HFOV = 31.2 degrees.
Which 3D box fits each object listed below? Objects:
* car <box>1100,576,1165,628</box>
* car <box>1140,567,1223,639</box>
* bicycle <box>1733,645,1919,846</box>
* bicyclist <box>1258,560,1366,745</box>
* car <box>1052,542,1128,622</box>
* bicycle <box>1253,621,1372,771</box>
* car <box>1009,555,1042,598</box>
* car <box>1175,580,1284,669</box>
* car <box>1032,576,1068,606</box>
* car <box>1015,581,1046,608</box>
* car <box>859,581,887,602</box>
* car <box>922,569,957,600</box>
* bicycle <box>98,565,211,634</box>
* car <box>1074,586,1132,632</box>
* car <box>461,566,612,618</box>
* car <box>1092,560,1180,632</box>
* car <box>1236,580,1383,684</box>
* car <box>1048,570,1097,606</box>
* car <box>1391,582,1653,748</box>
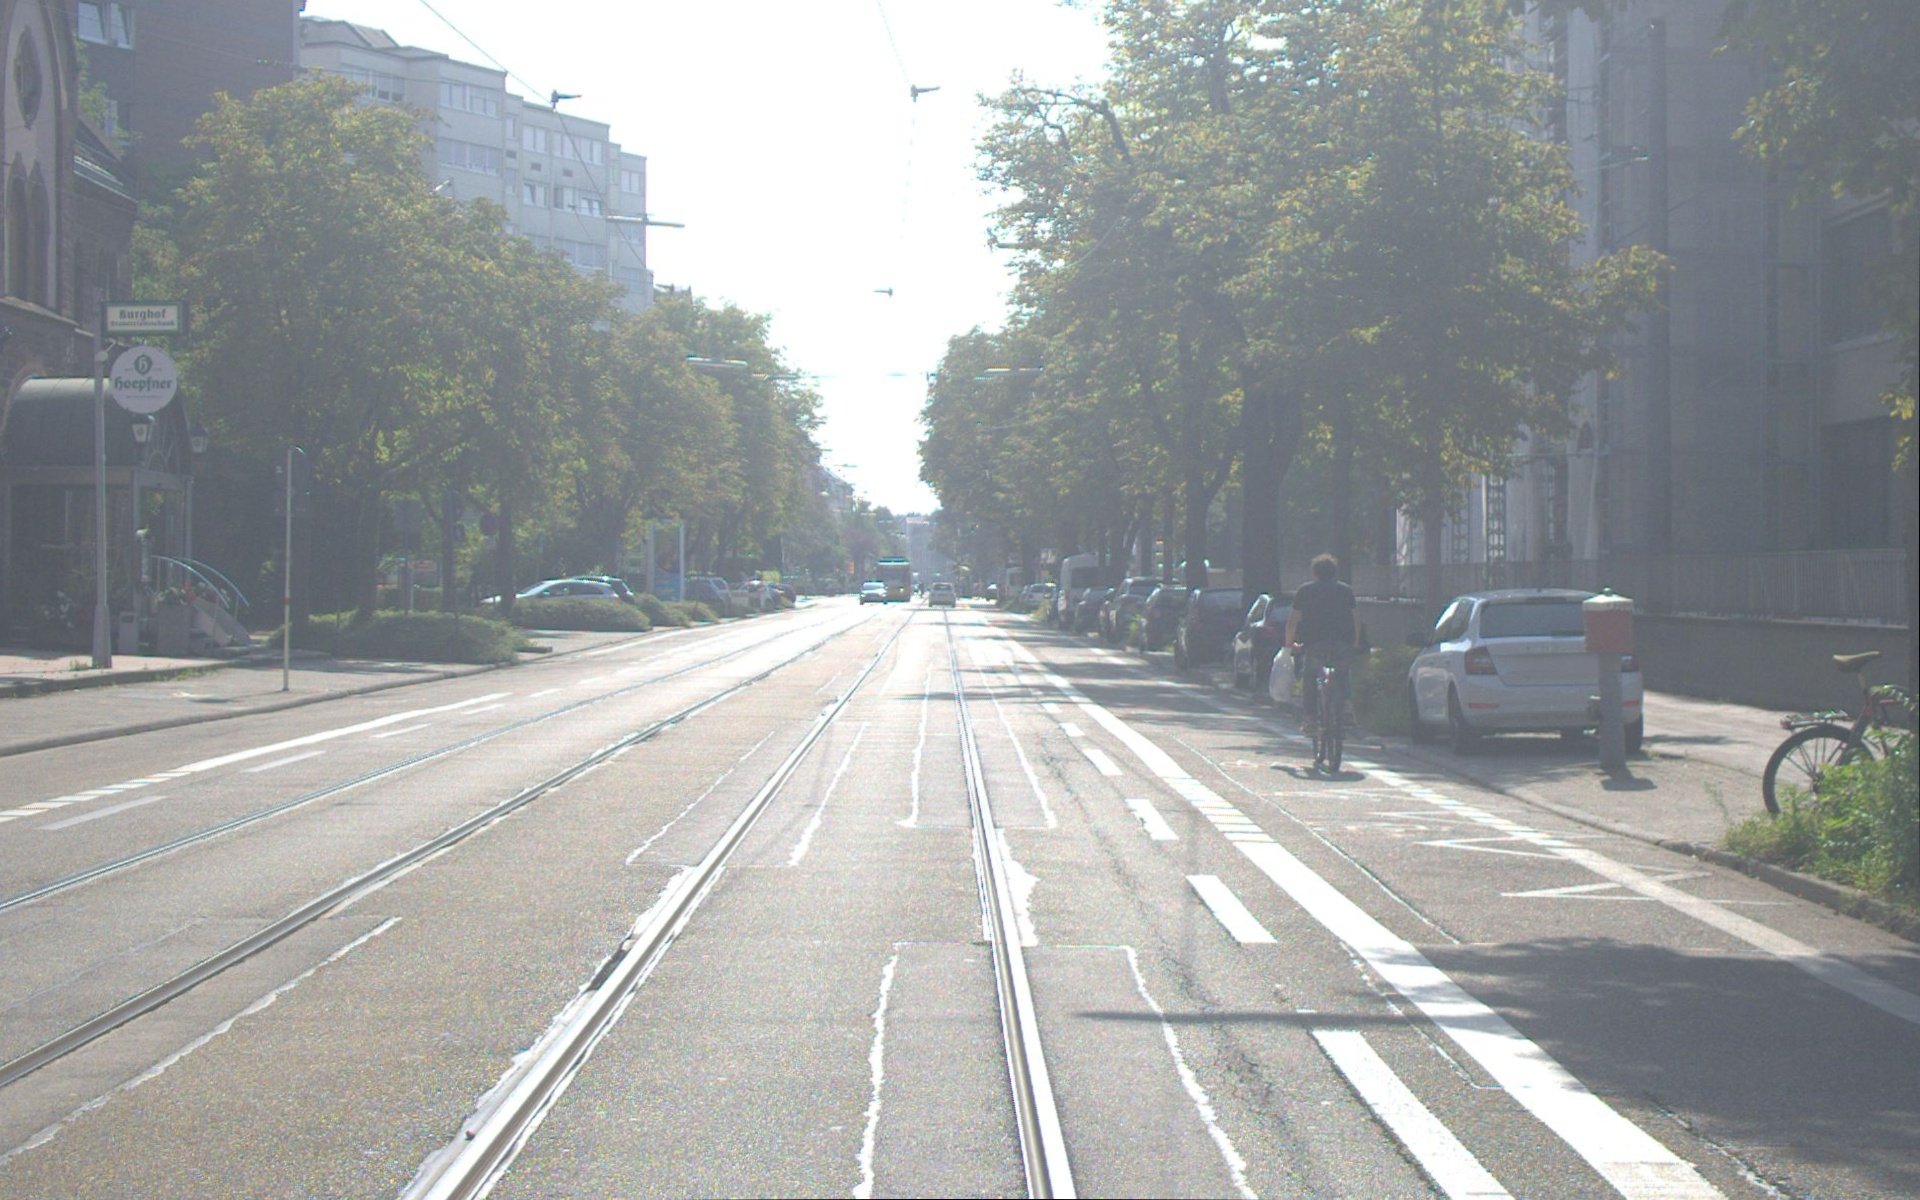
[{"bbox_3d":[4.793,0.059,95.982,1.616,1.409,4.000,0,0,0],"label":"car"},{"bbox_3d":[4.799,0.053,74.850,1.576,1.480,3.738,-1,1,0],"label":"car"},{"bbox_3d":[5.316,0.795,19.231,1.768,1.060,0.796,-1,0,-2],"label":"bicycle"},{"bbox_3d":[2.859,0.416,28.018,0.787,1.465,1.116,0,0,2],"label":"bicyclist"},{"bbox_3d":[4.366,-0.605,116.197,2.082,2.544,5.502,-3,0,-2],"label":"car"},{"bbox_3d":[2.852,0.755,28.027,0.787,1.140,2.305,0,0,2],"label":"bicycle"},{"bbox_3d":[3.991,-1.423,210.631,2.004,2.482,4.476,0,-1,1],"label":"car"},{"bbox_3d":[4.816,0.418,61.814,1.646,1.506,3.778,-1,0,0],"label":"car"},{"bbox_3d":[4.392,-0.451,168.710,1.689,1.413,3.634,0,0,1],"label":"car"},{"bbox_3d":[3.731,-0.286,182.403,1.595,1.413,3.634,0,0,1],"label":"car"},{"bbox_3d":[-5.692,-0.577,224.924,1.828,1.371,4.513,0,0,-1],"label":"car"},{"bbox_3d":[-1.218,-0.927,206.845,1.993,1.831,4.000,0,0,1],"label":"car"},{"bbox_3d":[-14.091,-0.011,60.149,1.802,1.070,0.421,5,-1,-22],"label":"bicycle"},{"bbox_3d":[4.374,0.265,105.773,1.616,1.369,4.827,0,0,1],"label":"car"},{"bbox_3d":[-12.367,-0.226,100.530,3.986,1.474,1.789,0,0,-29],"label":"car"},{"bbox_3d":[4.337,-0.122,85.208,1.753,1.685,4.397,1,1,-2],"label":"car"},{"bbox_3d":[5.066,0.434,50.259,1.646,1.423,4.085,-1,1,-1],"label":"car"},{"bbox_3d":[4.406,-0.474,135.358,1.753,1.373,4.719,-1,0,0],"label":"car"},{"bbox_3d":[5.135,0.563,31.872,1.640,1.425,3.989,-1,0,-2],"label":"car"}]
